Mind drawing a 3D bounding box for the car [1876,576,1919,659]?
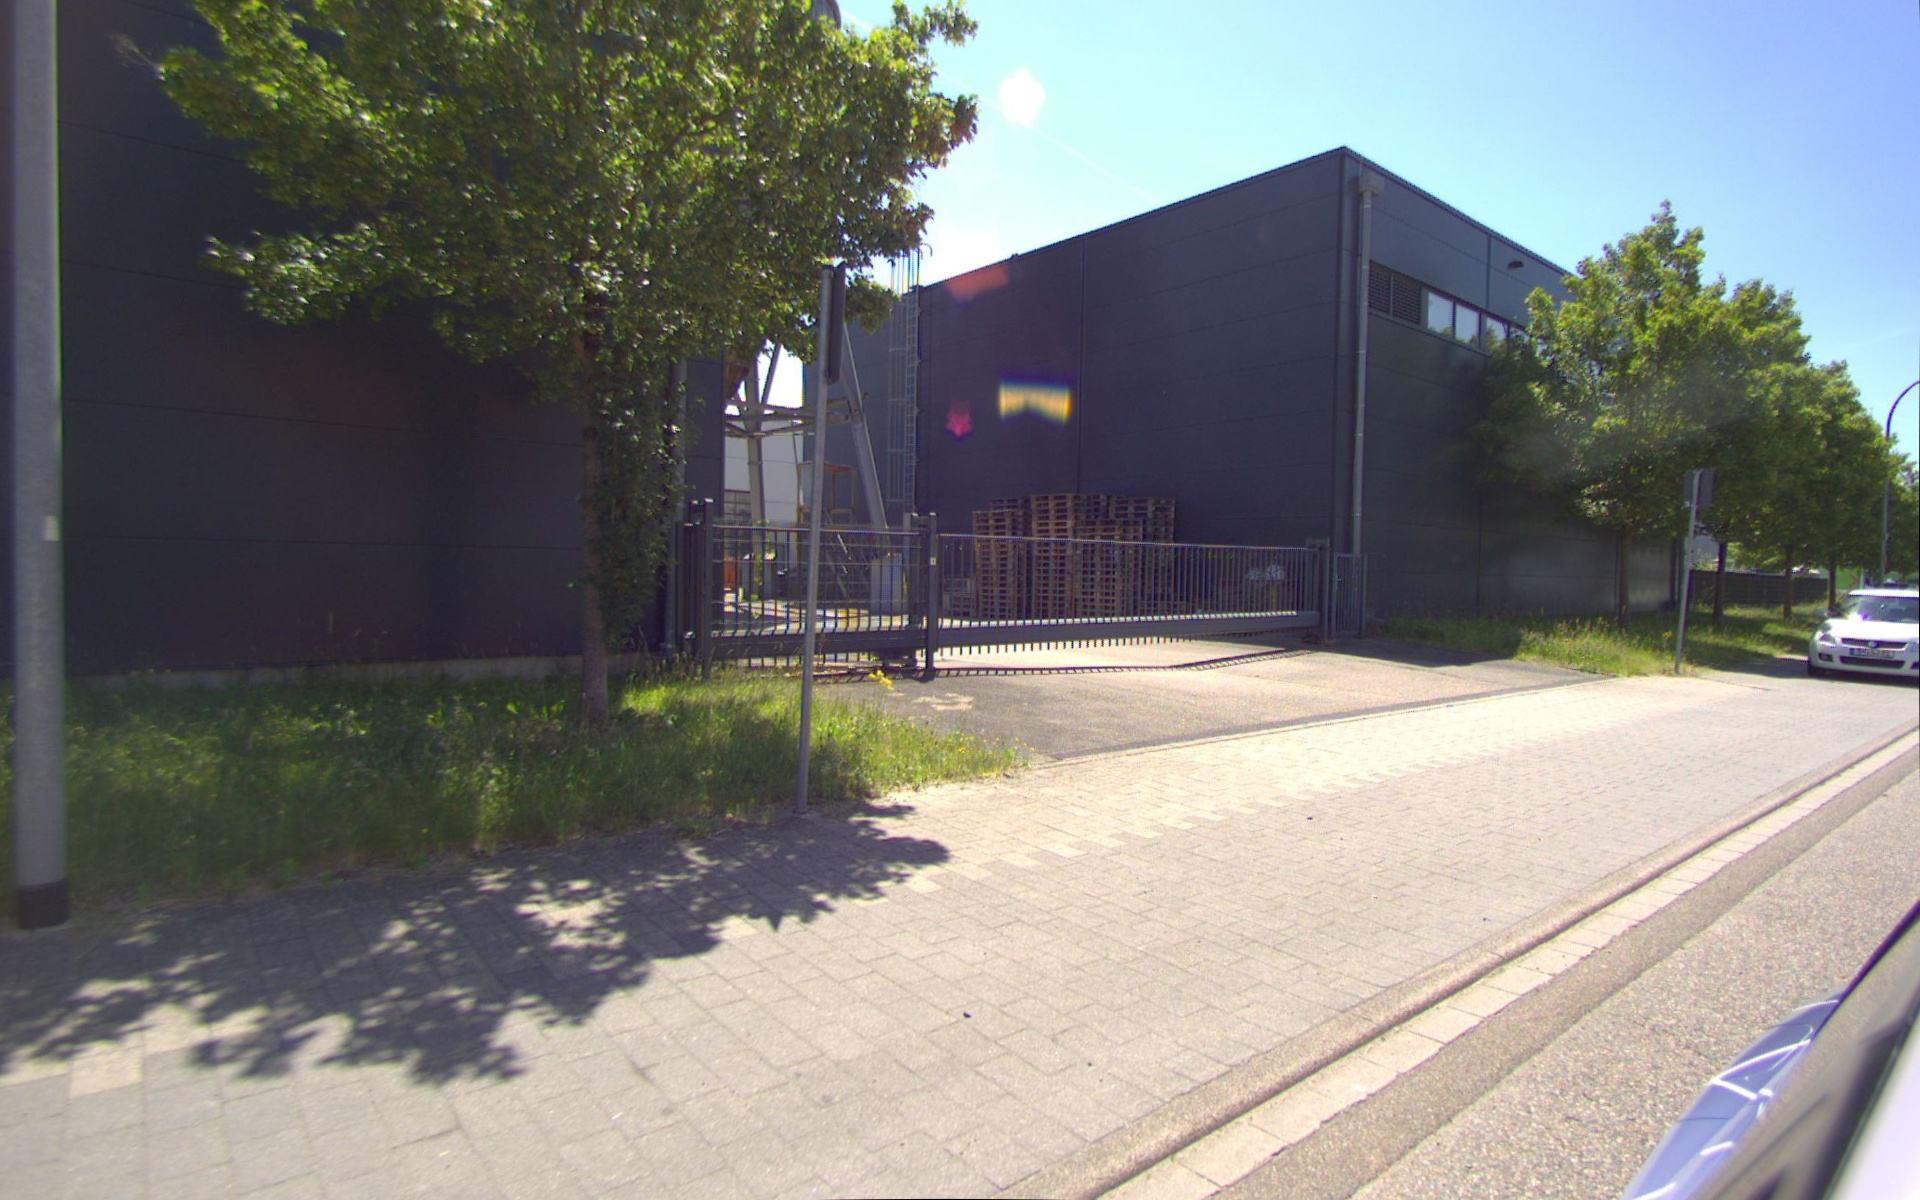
[{"bbox_3d":[19.553,0.328,19.944,3.778,1.528,1.735,-1,3,-41],"label":"car"}]

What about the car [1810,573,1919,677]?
[{"bbox_3d":[15.715,0.369,16.889,3.602,1.528,1.736,-1,4,-41],"label":"car"}]
